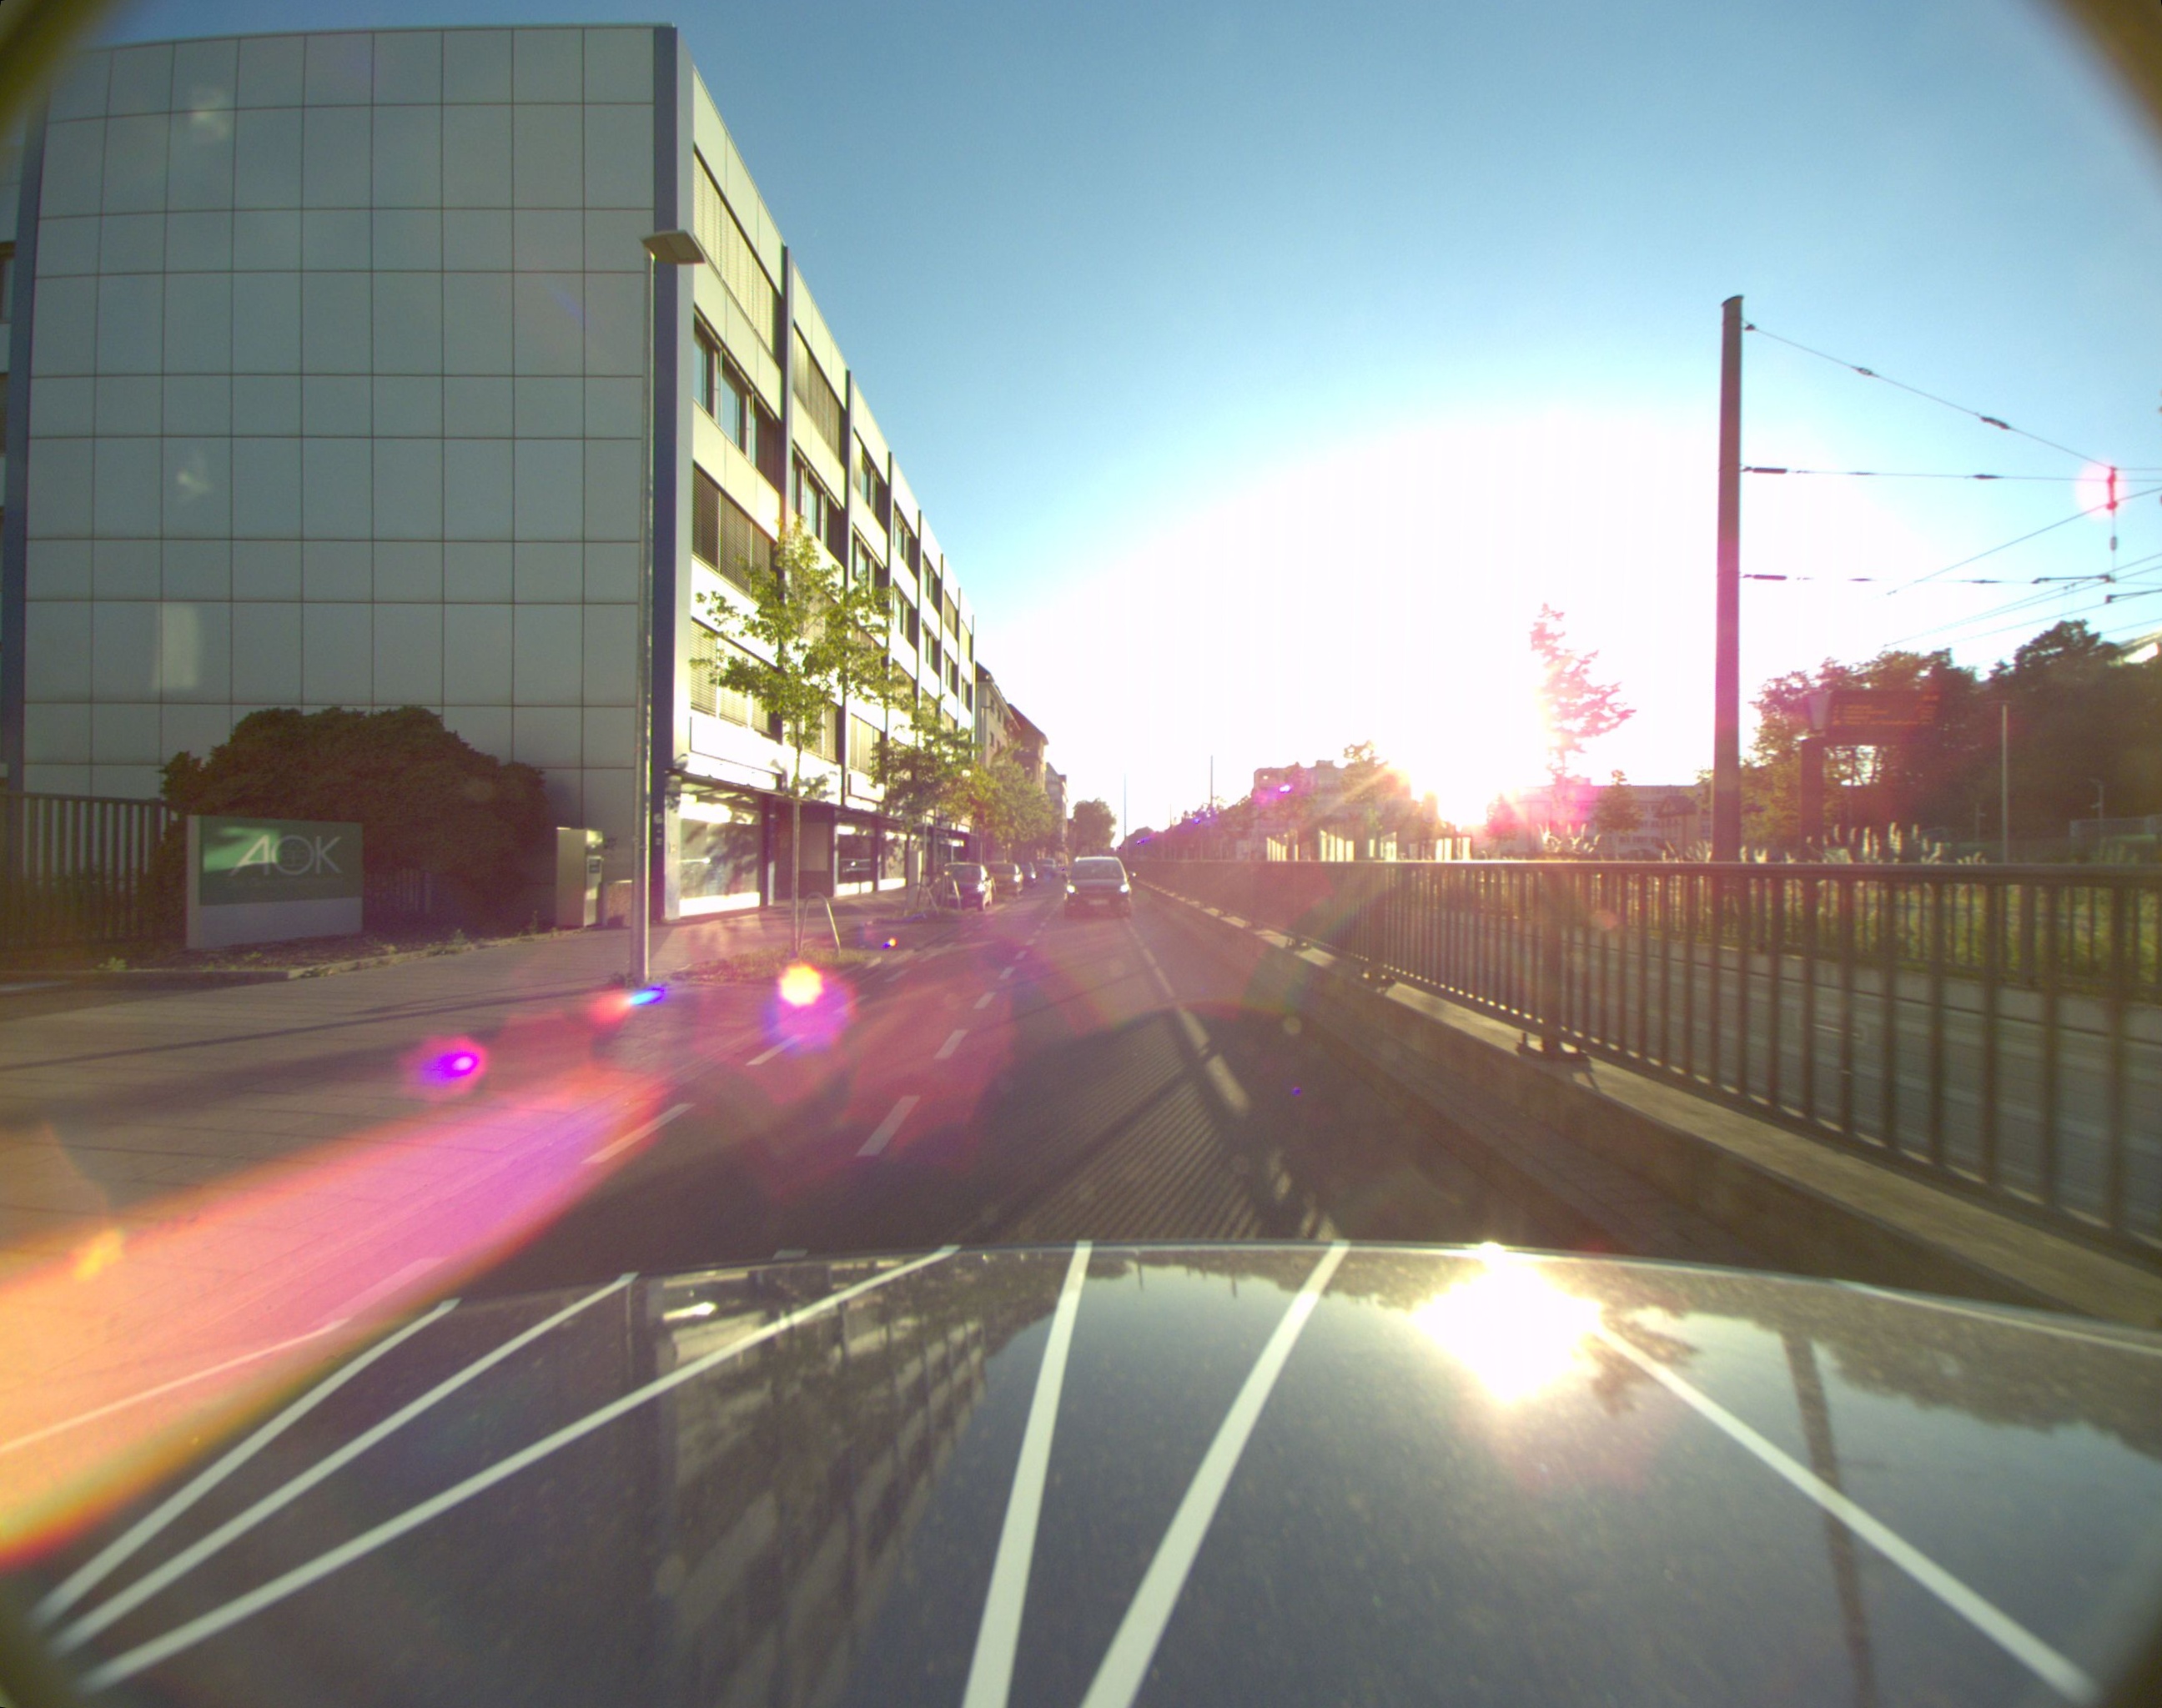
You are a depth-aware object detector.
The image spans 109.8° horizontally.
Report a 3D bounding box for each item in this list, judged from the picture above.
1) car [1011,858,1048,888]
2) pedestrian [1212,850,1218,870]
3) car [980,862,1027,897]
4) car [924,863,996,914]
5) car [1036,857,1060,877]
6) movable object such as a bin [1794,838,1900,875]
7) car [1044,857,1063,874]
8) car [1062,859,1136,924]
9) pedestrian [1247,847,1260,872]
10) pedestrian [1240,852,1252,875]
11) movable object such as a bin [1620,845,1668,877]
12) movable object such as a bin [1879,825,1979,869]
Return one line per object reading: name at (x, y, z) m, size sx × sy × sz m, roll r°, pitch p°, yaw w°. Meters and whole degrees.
car at (-2.951, 1.052, 44.544) m, size 1.824 × 1.557 × 4.809 m, roll 4°, pitch 0°, yaw -1°
pedestrian at (12.139, 0.511, 68.745) m, size 0.472 × 1.776 × 0.626 m, roll 0°, pitch 0°, yaw 8°
car at (-3.463, 1.106, 34.536) m, size 1.688 × 1.446 × 4.129 m, roll 1°, pitch 0°, yaw 0°
car at (-3.782, 1.043, 24.408) m, size 1.824 × 1.446 × 4.127 m, roll 1°, pitch 0°, yaw -3°
car at (-2.886, 1.085, 67.212) m, size 1.761 × 1.644 × 4.529 m, roll 2°, pitch 0°, yaw 1°
movable object such as a bin at (49.226, 0.147, 49.006) m, size 1.998 × 2.233 × 4.940 m, roll 0°, pitch 0°, yaw 3°
car at (-2.642, 1.105, 73.041) m, size 1.674 × 1.509 × 3.601 m, roll 4°, pitch 0°, yaw -1°
car at (0.446, 0.945, 20.885) m, size 1.800 × 1.609 × 4.387 m, roll 0°, pitch 0°, yaw 0°
pedestrian at (12.073, 0.383, 53.242) m, size 0.636 × 1.718 × 0.635 m, roll 0°, pitch 0°, yaw -12°
pedestrian at (12.652, 0.721, 58.201) m, size 0.727 × 1.734 × 0.636 m, roll -1°, pitch 0°, yaw -7°
movable object such as a bin at (49.282, 0.586, 66.643) m, size 1.996 × 2.690 × 4.004 m, roll 0°, pitch 0°, yaw 14°
movable object such as a bin at (53.524, -0.428, 48.081) m, size 1.998 × 2.690 × 4.001 m, roll 0°, pitch 0°, yaw 3°
